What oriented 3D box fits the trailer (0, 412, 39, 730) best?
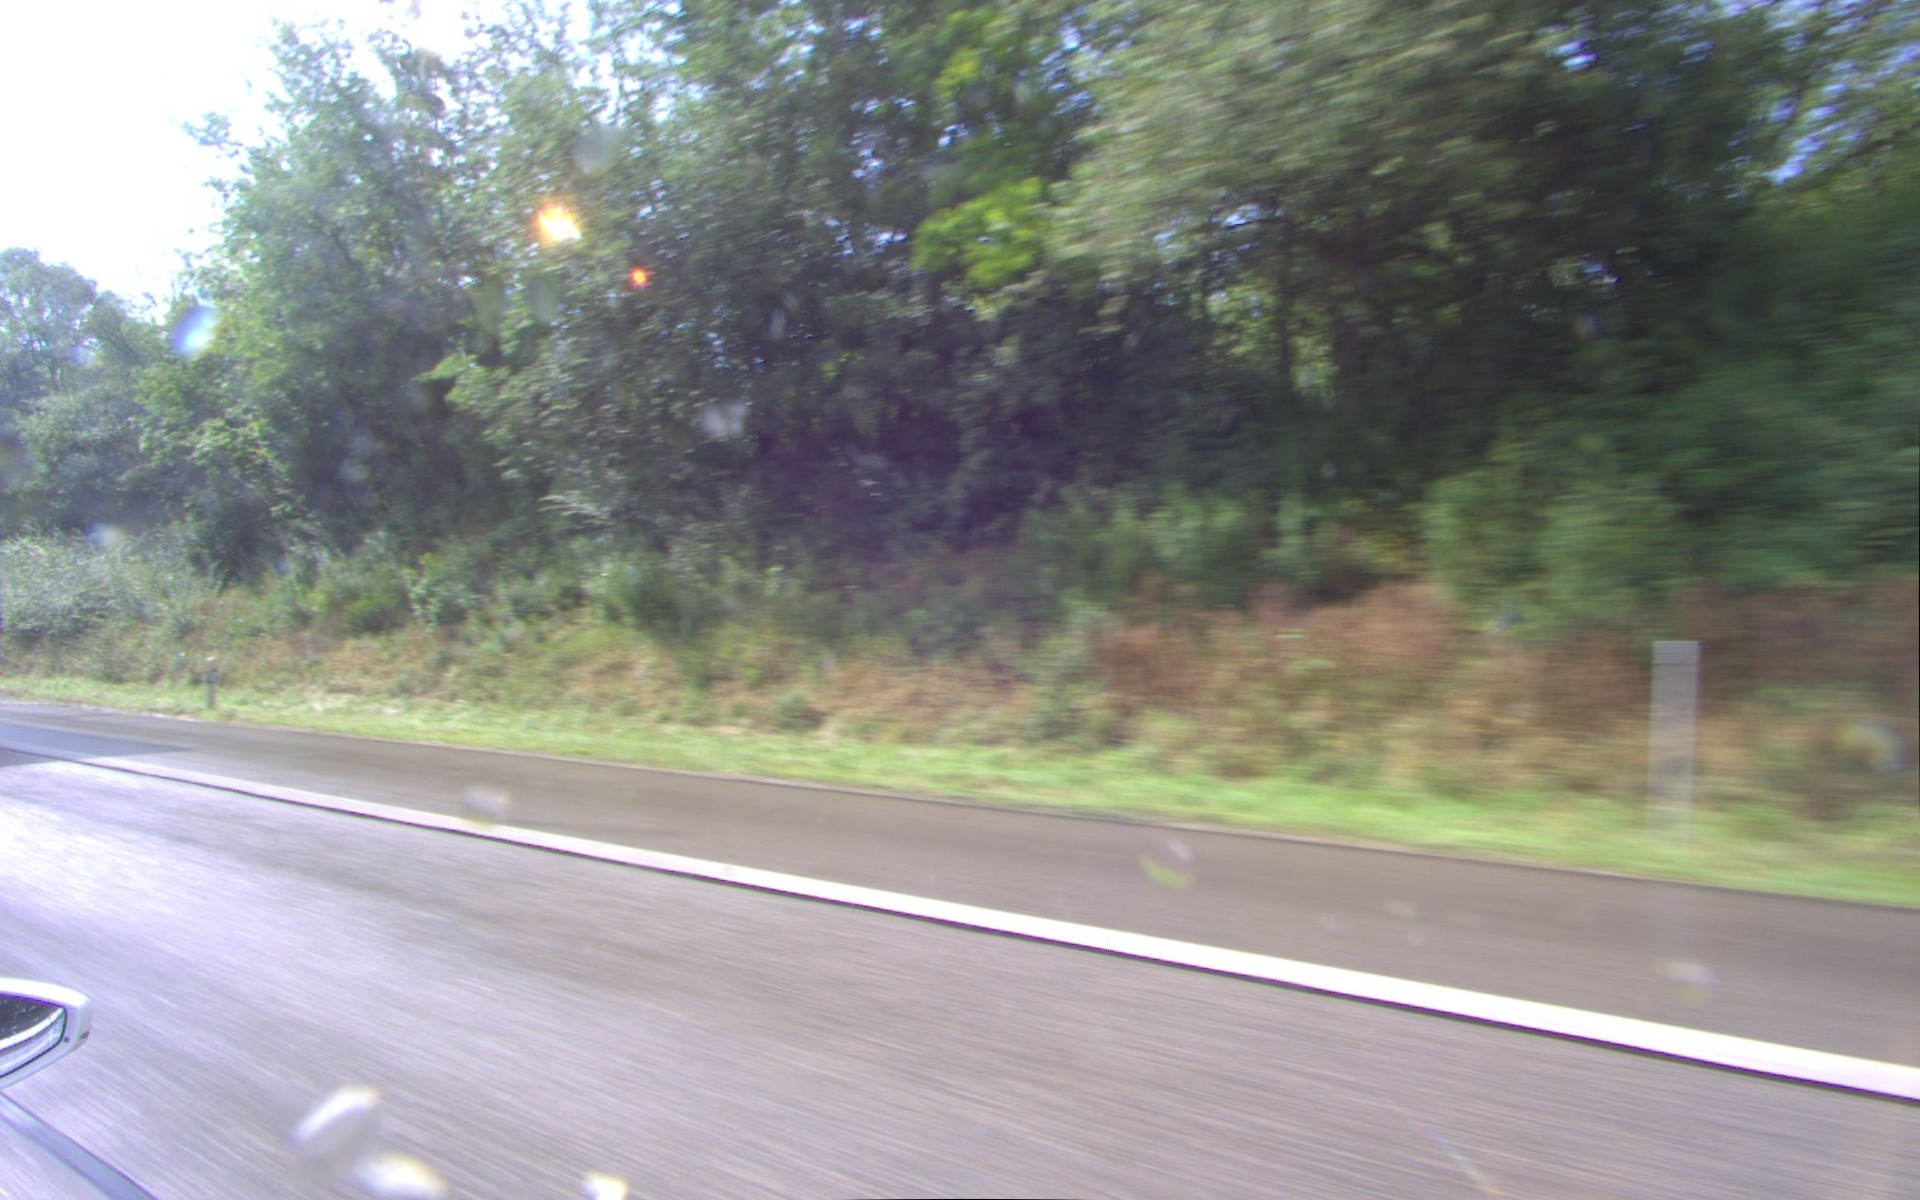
[{"bbox_3d":[-19.603,-0.316,16.586,13.907,4.368,3.082,-1,-1,33],"label":"trailer"}]
